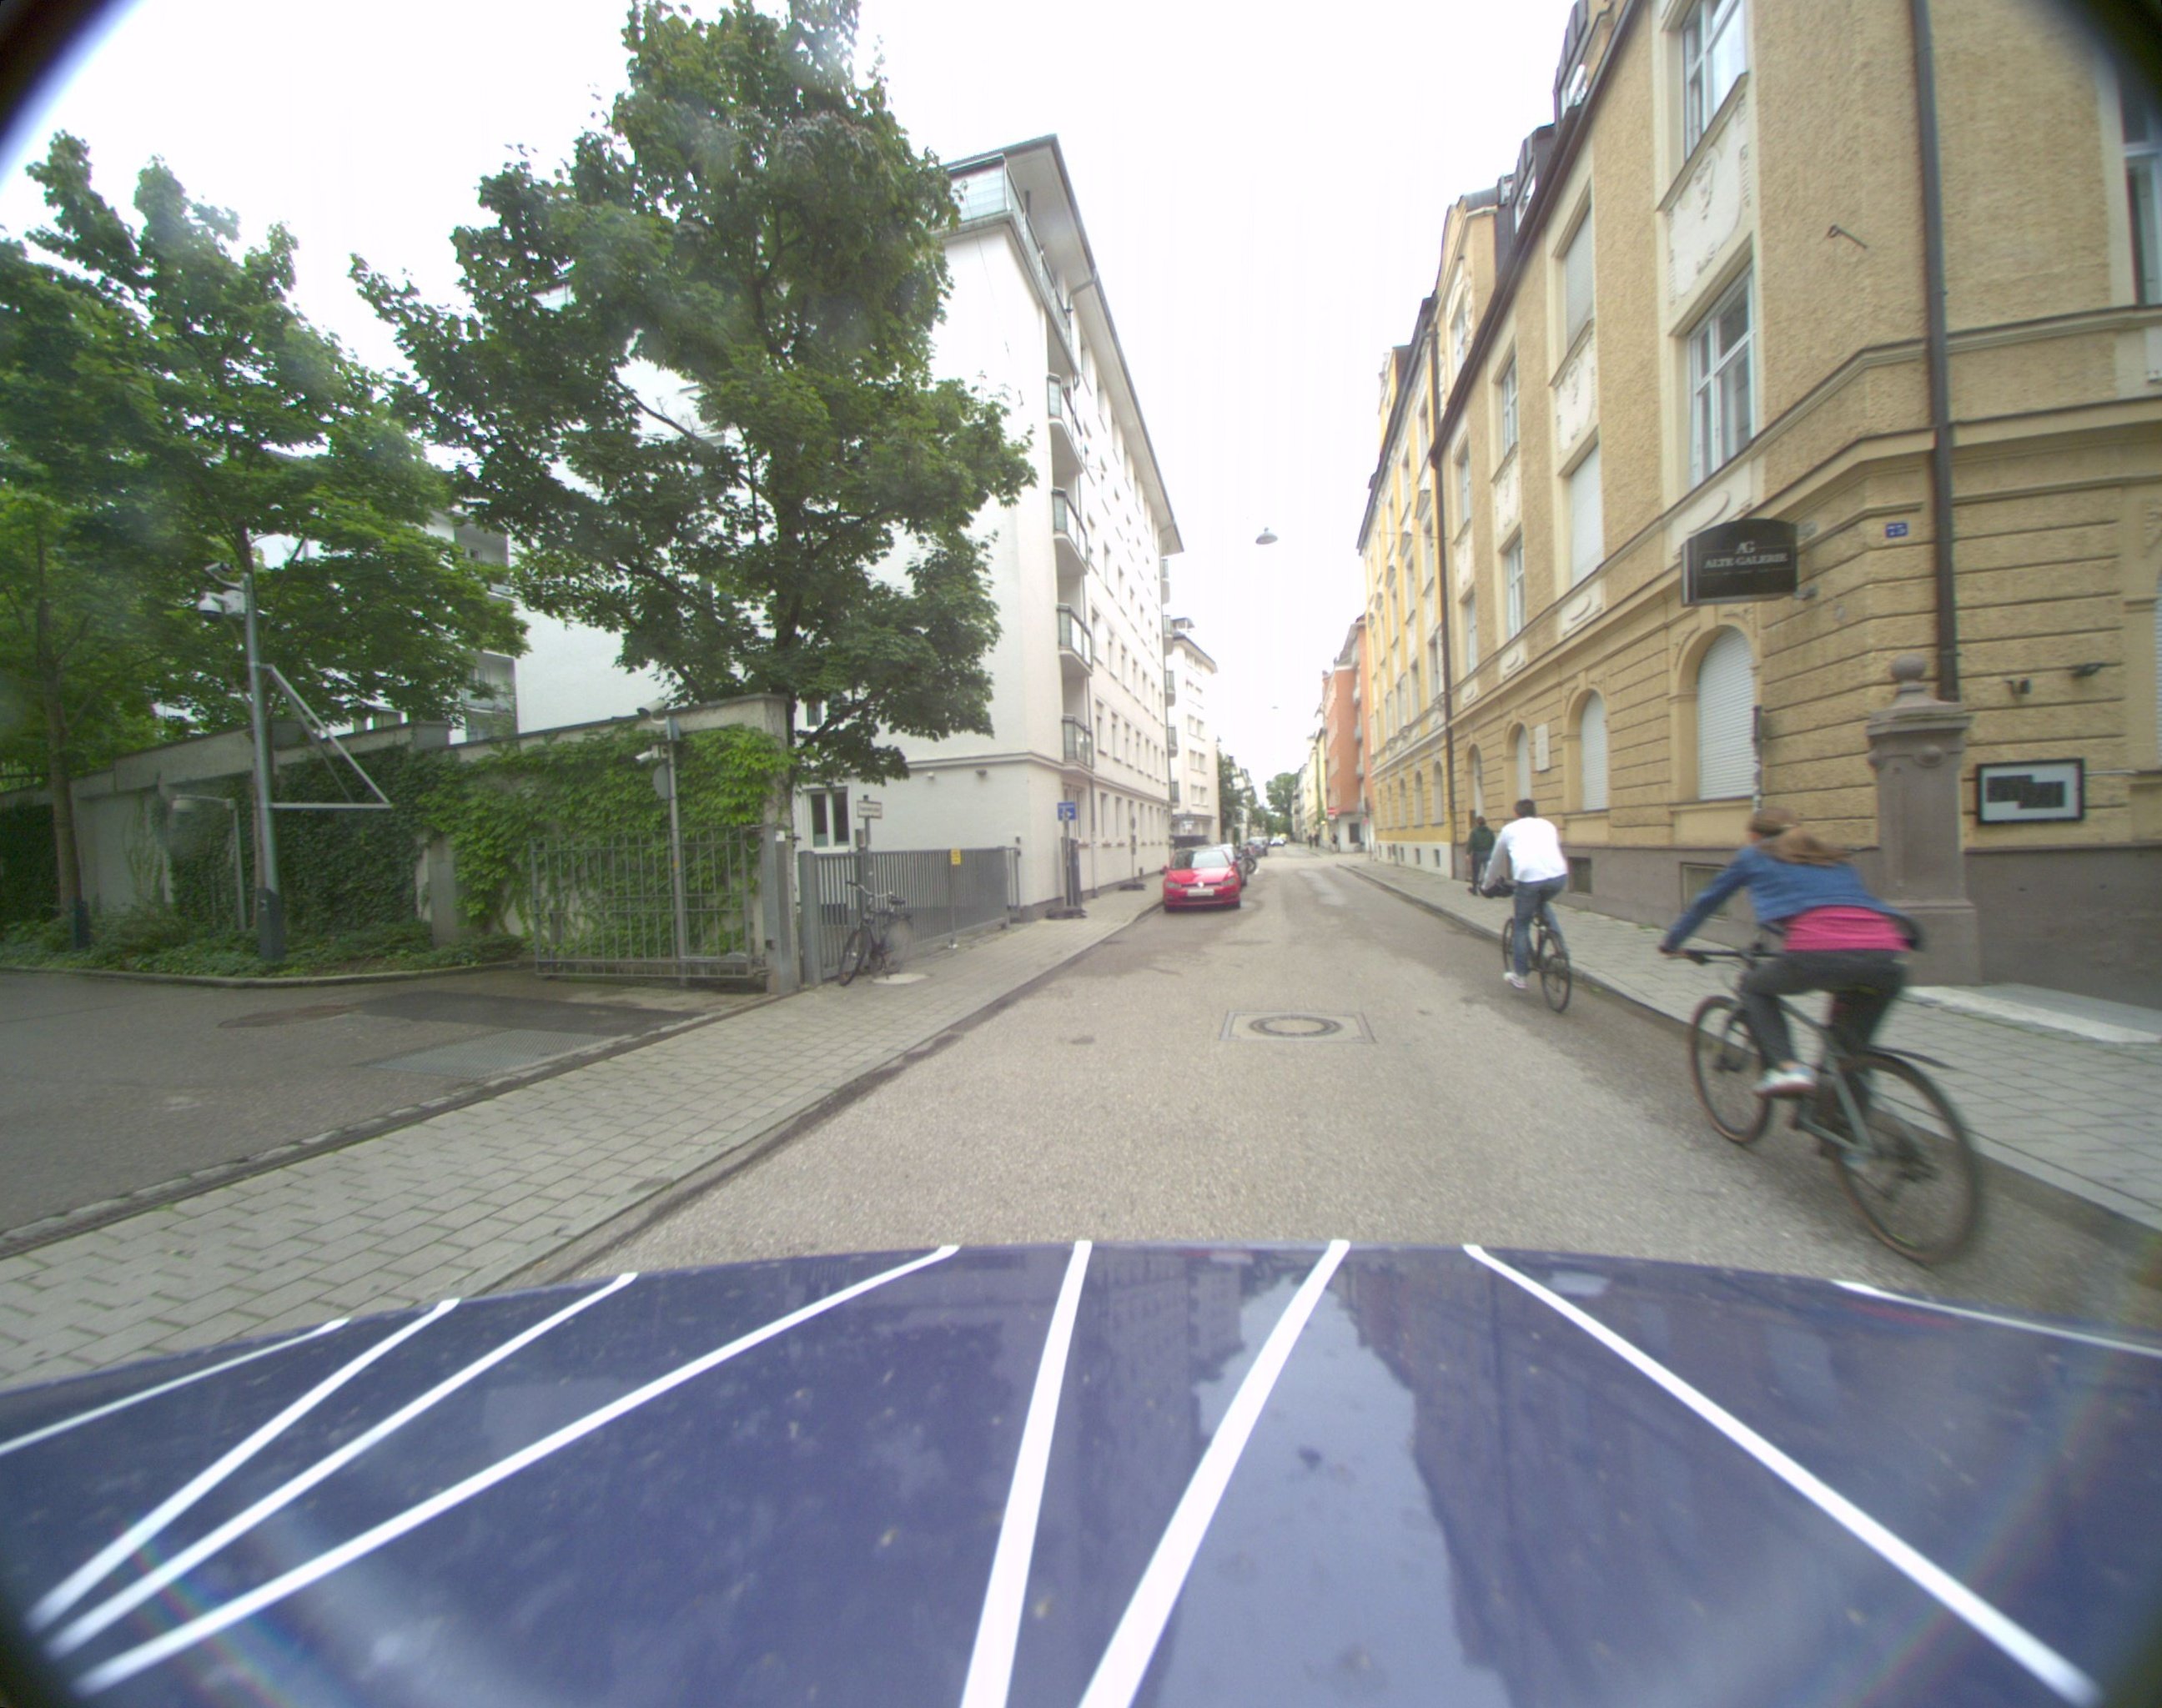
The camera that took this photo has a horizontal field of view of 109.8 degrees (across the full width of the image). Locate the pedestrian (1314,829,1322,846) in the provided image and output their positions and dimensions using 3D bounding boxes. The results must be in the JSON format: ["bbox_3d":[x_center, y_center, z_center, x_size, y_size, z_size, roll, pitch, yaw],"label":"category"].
[{"bbox_3d":[25.291,-1.794,81.127,0.699,1.783,0.764,-2,2,15],"label":"pedestrian"}]

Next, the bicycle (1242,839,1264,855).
[{"bbox_3d":[13.199,-0.535,58.269,1.606,1.207,0.529,-2,2,17],"label":"bicycle"}]

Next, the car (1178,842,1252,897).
[{"bbox_3d":[4.340,0.421,24.129,1.797,1.430,4.387,-4,1,16],"label":"car"}]

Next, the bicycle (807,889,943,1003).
[{"bbox_3d":[-2.406,1.040,9.128,0.708,1.191,1.836,-2,-2,15],"label":"bicycle"}]

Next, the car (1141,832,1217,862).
[{"bbox_3d":[6.663,-0.476,51.722,4.672,1.880,1.936,-2,1,23],"label":"car"}]

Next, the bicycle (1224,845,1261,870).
[{"bbox_3d":[7.842,0.178,36.814,1.698,1.154,0.379,-2,2,14],"label":"bicycle"}]

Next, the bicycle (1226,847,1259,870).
[{"bbox_3d":[7.473,0.210,35.183,1.439,1.038,0.360,0,3,23],"label":"bicycle"}]

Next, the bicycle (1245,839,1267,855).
[{"bbox_3d":[13.281,-0.524,57.657,1.606,1.207,0.529,-2,2,17],"label":"bicycle"}]

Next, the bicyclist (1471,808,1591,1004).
[{"bbox_3d":[3.998,0.435,6.819,0.660,1.633,0.896,-2,1,14],"label":"bicyclist"}]

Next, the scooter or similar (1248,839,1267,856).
[{"bbox_3d":[13.075,-0.482,56.237,1.339,1.207,0.345,-2,2,17],"label":"scooter or similar"}]

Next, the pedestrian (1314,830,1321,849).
[{"bbox_3d":[25.265,-1.591,81.254,0.634,2.002,0.788,-1,1,15],"label":"pedestrian"}]

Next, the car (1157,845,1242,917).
[{"bbox_3d":[2.958,0.587,19.028,1.764,1.438,4.301,-4,1,9],"label":"car"}]

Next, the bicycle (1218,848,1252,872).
[{"bbox_3d":[6.902,0.252,34.039,1.437,1.038,0.330,0,3,23],"label":"bicycle"}]

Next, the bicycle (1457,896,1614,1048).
[{"bbox_3d":[4.067,0.986,6.980,0.662,1.033,2.006,-2,1,14],"label":"bicycle"}]

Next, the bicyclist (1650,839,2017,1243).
[{"bbox_3d":[2.887,0.636,3.027,0.709,1.363,0.814,-2,1,14],"label":"bicyclist"}]

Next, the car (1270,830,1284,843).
[{"bbox_3d":[29.254,-2.634,113.674,1.927,1.795,4.448,-2,1,14],"label":"car"}]

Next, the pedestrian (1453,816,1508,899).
[{"bbox_3d":[8.369,0.065,15.959,0.714,1.656,0.930,-5,1,14],"label":"pedestrian"}]

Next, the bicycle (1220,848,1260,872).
[{"bbox_3d":[7.025,0.260,33.525,1.705,1.038,0.360,0,2,15],"label":"bicycle"}]

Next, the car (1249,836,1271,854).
[{"bbox_3d":[15.070,-0.801,63.803,1.652,1.391,4.003,-2,1,15],"label":"car"}]

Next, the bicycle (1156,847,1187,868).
[{"bbox_3d":[4.585,0.165,38.538,1.501,1.038,0.399,-1,2,-4],"label":"bicycle"}]

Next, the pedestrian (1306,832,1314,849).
[{"bbox_3d":[24.522,-1.404,81.221,0.725,1.783,0.830,-2,2,15],"label":"pedestrian"}]

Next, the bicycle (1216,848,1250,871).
[{"bbox_3d":[6.993,0.225,34.959,1.518,1.038,0.360,0,3,23],"label":"bicycle"}]

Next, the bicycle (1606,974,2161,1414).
[{"bbox_3d":[2.903,1.091,3.044,0.709,0.900,1.811,-2,1,14],"label":"bicycle"}]

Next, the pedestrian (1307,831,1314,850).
[{"bbox_3d":[24.589,-1.412,81.391,0.634,2.002,0.788,-1,1,15],"label":"pedestrian"}]

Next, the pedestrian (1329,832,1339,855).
[{"bbox_3d":[18.952,-0.819,56.916,0.612,1.684,0.566,-2,2,10],"label":"pedestrian"}]
